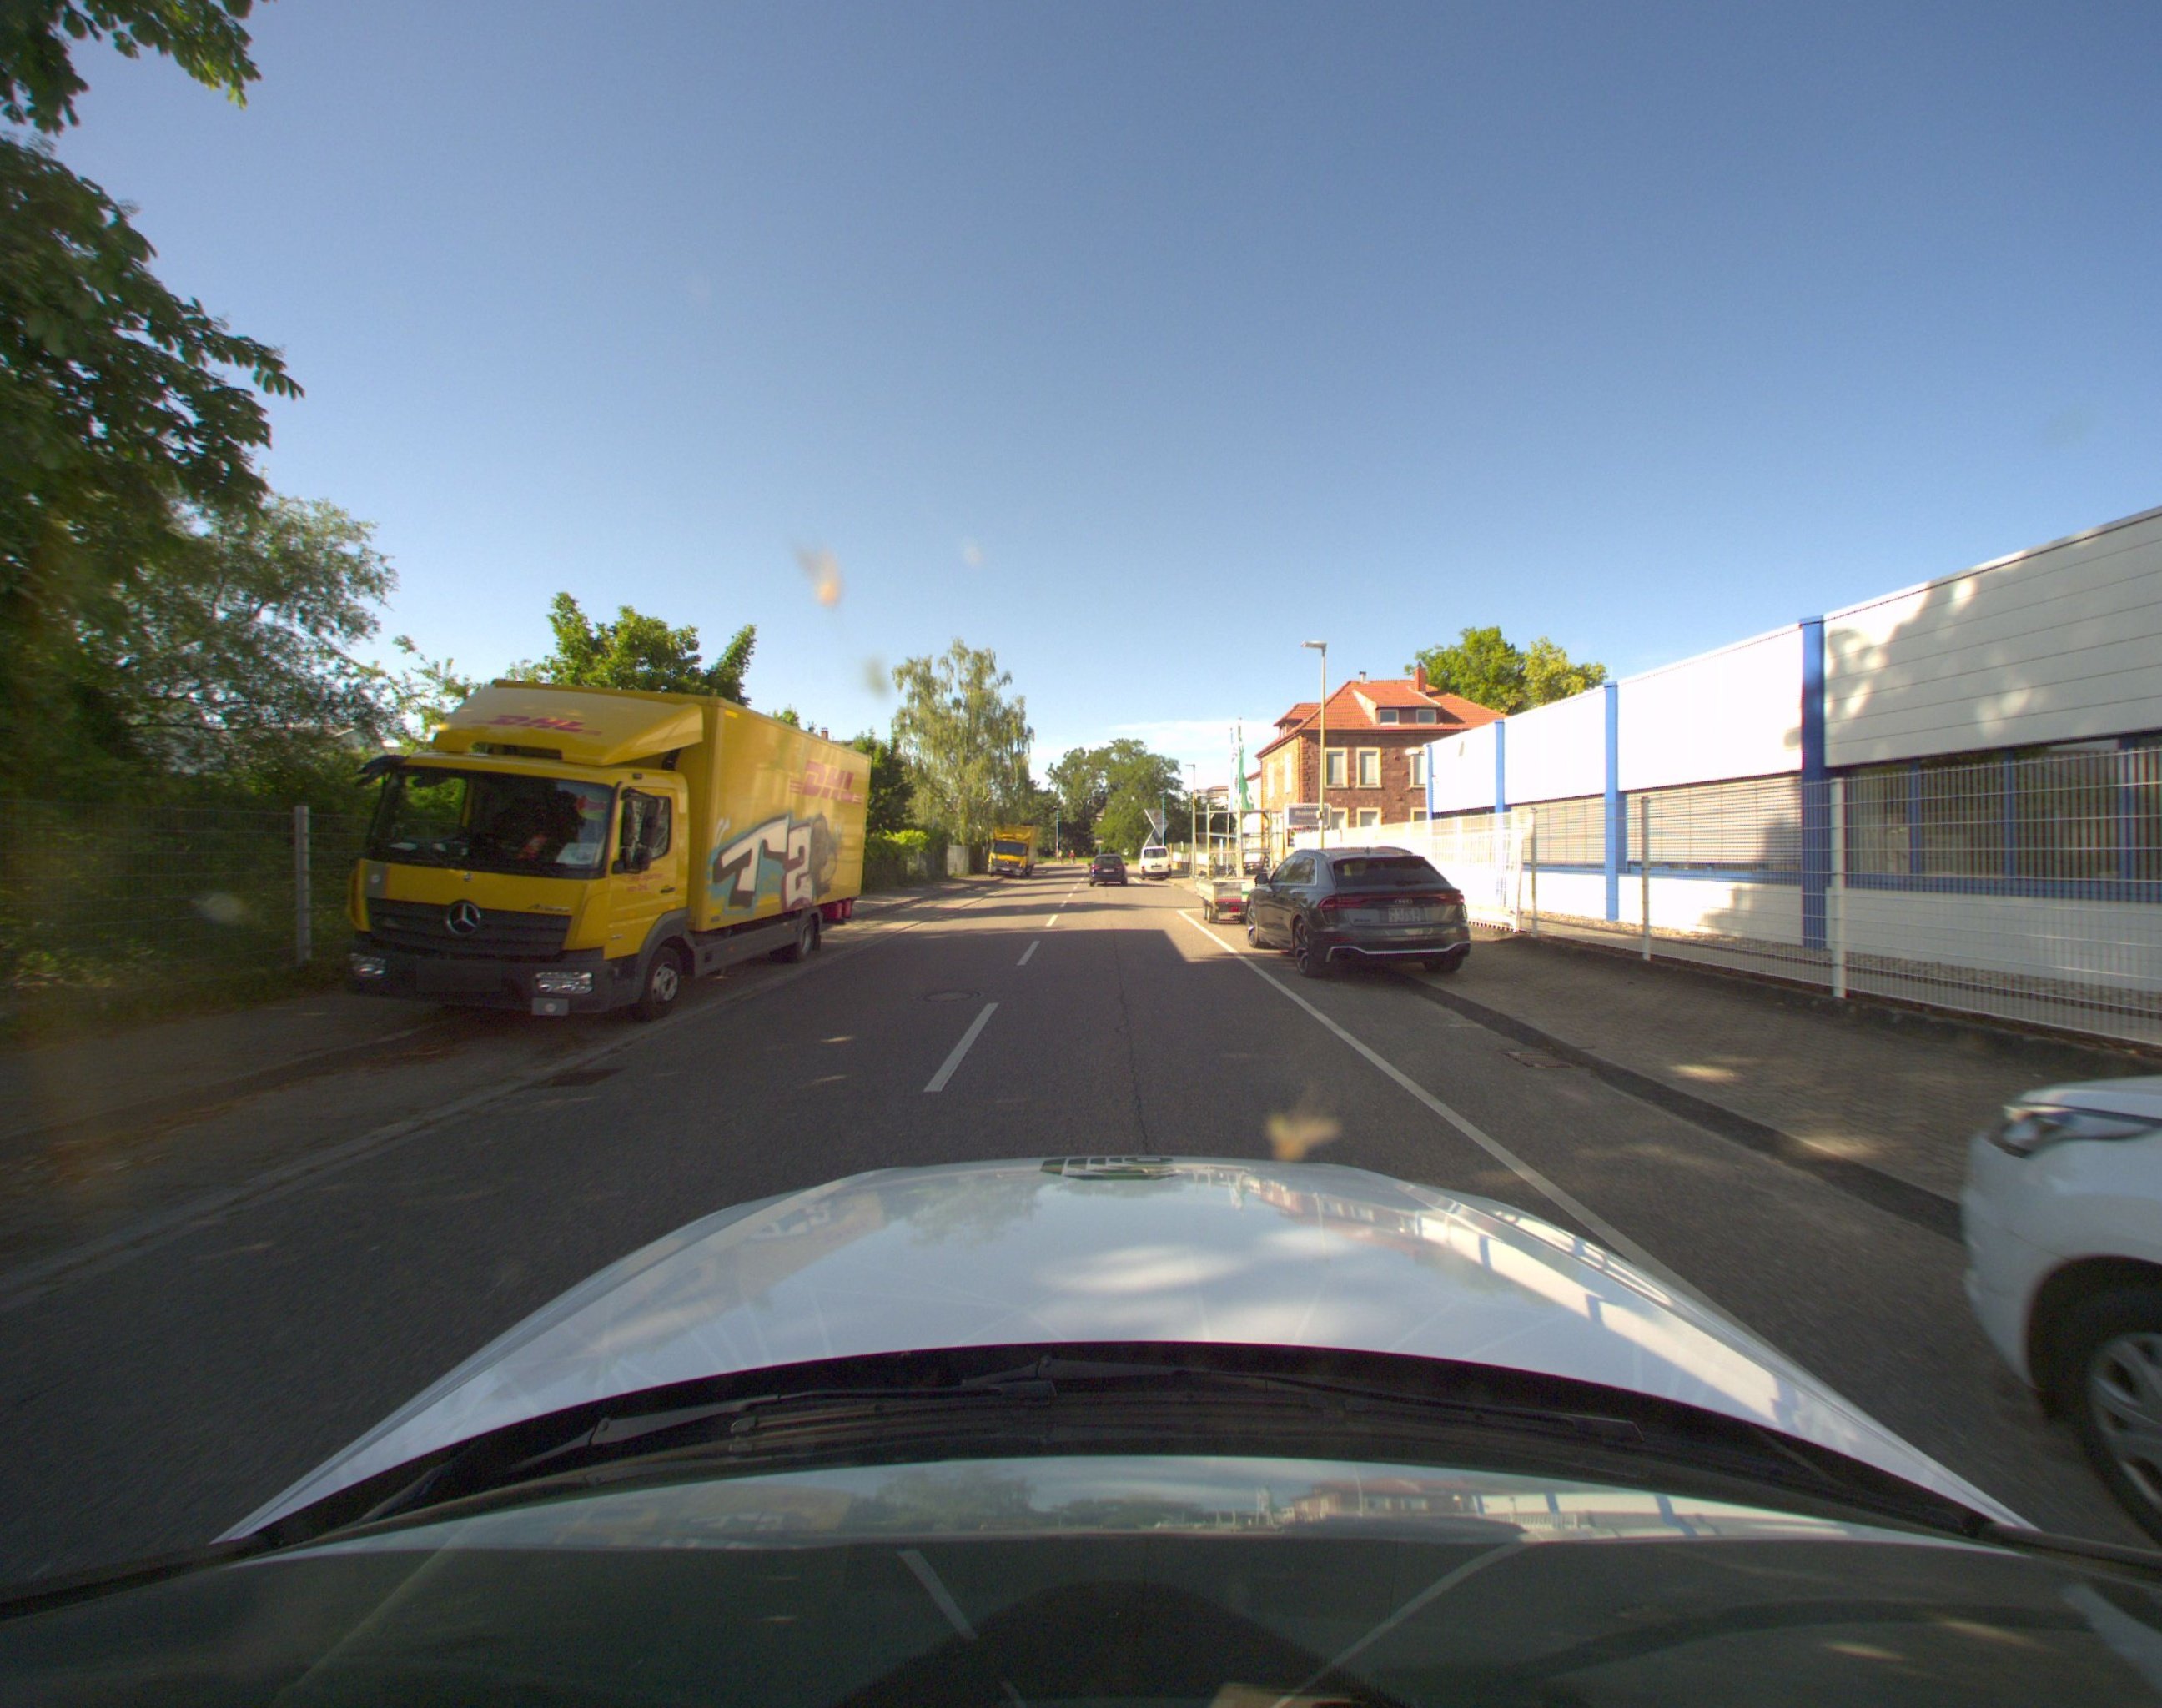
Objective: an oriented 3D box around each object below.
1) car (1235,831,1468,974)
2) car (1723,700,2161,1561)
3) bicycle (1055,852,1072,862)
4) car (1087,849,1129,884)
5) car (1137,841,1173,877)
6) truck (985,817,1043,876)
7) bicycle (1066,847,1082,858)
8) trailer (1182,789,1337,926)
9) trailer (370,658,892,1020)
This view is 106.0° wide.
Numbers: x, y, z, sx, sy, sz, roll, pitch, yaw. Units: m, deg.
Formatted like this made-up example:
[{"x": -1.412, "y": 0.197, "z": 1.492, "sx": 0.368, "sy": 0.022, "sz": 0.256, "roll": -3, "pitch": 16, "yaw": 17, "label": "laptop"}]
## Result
[{"x": 3.681, "y": 0.590, "z": 12.098, "sx": 1.986, "sy": 1.667, "sz": 4.733, "roll": 1, "pitch": 0, "yaw": 2, "label": "car"}, {"x": 3.190, "y": 0.597, "z": 0.365, "sx": 1.848, "sy": 1.830, "sz": 5.170, "roll": 1, "pitch": 0, "yaw": 2, "label": "car"}, {"x": -2.134, "y": 0.378, "z": 97.918, "sx": 0.810, "sy": 1.221, "sz": 2.233, "roll": 2, "pitch": 0, "yaw": -38, "label": "bicycle"}, {"x": 1.304, "y": 0.547, "z": 38.563, "sx": 1.840, "sy": 1.530, "sz": 4.002, "roll": -1, "pitch": 0, "yaw": 2, "label": "car"}, {"x": 4.401, "y": 0.306, "z": 49.207, "sx": 1.867, "sy": 2.014, "sz": 5.163, "roll": 1, "pitch": 0, "yaw": 2, "label": "car"}, {"x": -4.401, "y": -0.575, "z": 55.468, "sx": 2.622, "sy": 3.504, "sz": 8.661, "roll": 6, "pitch": 1, "yaw": 2, "label": "truck"}, {"x": -0.802, "y": -0.155, "z": 94.613, "sx": 0.809, "sy": 1.268, "sz": 2.235, "roll": 1, "pitch": 0, "yaw": -33, "label": "bicycle"}, {"x": 3.854, "y": 0.062, "z": 18.830, "sx": 2.451, "sy": 2.672, "sz": 5.703, "roll": 0, "pitch": 0, "yaw": 1, "label": "trailer"}, {"x": -5.250, "y": -0.153, "z": 11.864, "sx": 2.981, "sy": 3.443, "sz": 8.161, "roll": 0, "pitch": 0, "yaw": 0, "label": "trailer"}]
